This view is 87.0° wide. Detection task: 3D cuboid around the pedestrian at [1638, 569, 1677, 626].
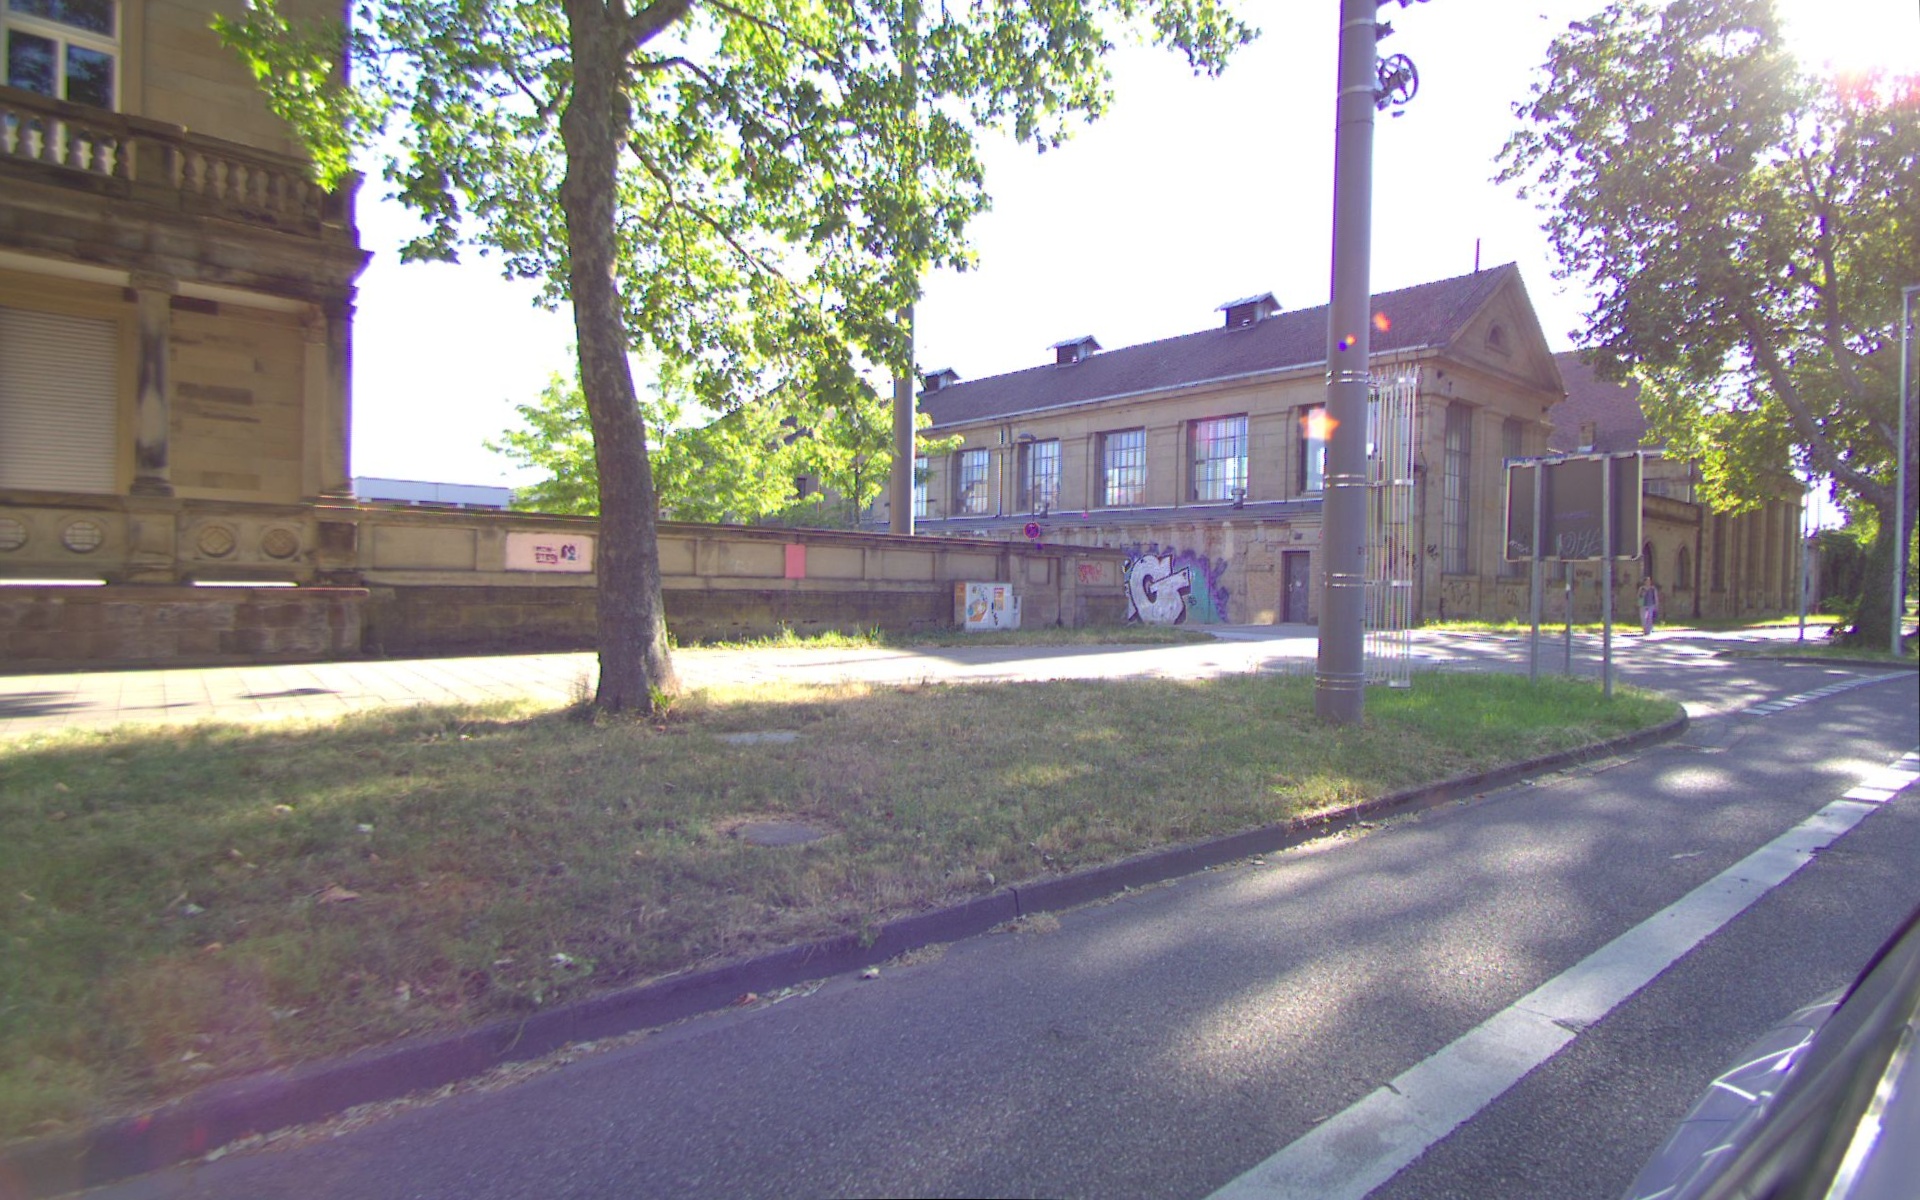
[{"bbox_3d":[21.048,-0.082,30.542,0.858,1.682,0.672,0,2,-39],"label":"pedestrian"}]
